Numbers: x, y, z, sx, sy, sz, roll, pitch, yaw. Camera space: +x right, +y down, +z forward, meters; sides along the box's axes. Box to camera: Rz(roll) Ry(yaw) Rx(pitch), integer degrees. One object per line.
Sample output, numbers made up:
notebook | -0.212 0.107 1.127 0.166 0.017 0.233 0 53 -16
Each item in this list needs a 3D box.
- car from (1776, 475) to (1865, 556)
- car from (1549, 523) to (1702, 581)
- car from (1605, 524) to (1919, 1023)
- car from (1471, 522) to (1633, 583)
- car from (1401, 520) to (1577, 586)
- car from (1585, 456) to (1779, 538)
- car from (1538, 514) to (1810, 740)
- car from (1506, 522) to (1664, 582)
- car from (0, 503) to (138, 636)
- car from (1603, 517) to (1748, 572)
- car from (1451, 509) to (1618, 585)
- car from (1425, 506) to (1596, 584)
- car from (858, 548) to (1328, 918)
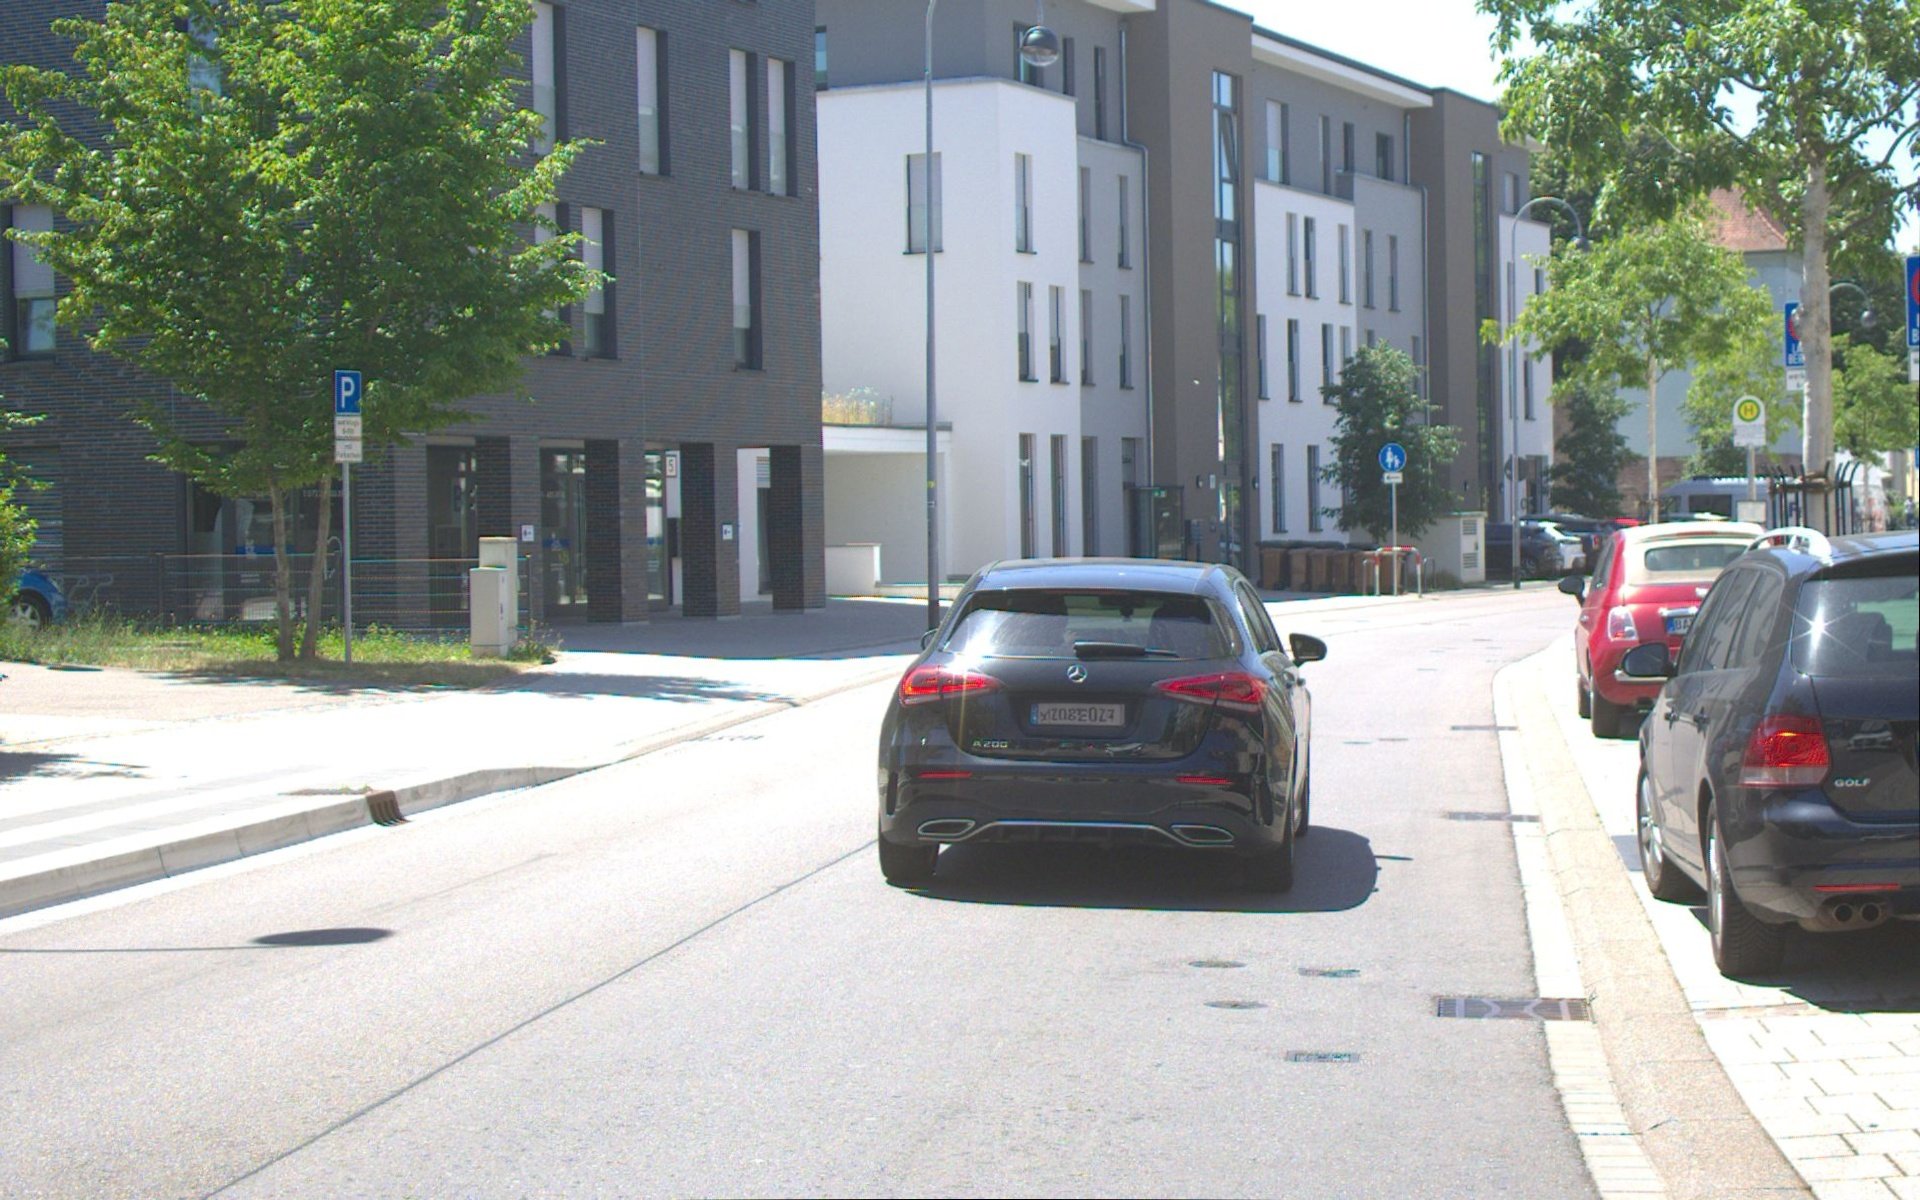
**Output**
car | 21.876 -2.146 87.334 1.995 2.007 3.997 0 1 17
car | 19.476 -1.412 100.613 3.993 1.656 1.997 1 1 27
car | 3.429 0.478 12.399 1.750 1.481 3.999 -3 1 6
car | 16.294 -1.310 94.666 3.993 1.656 1.997 1 1 27
car | 13.503 -1.215 87.758 3.993 1.656 1.997 1 1 27
car | 23.261 -3.291 110.818 5.651 2.570 2.511 1 1 28
car | 5.255 0.158 25.660 1.606 1.525 3.491 -2 1 6
car | 17.658 -1.359 97.186 3.993 1.656 1.997 1 1 27
car | -12.088 -0.371 40.830 1.998 1.563 4.159 1 1 39
car | 22.004 -1.710 105.718 3.993 1.656 1.997 1 1 27
car | 15.421 -1.429 92.241 3.993 2.007 1.997 1 1 28
car | 14.423 -1.446 90.079 3.993 2.007 1.997 1 1 28
car | 0.770 0.507 16.270 1.763 1.452 4.437 1 1 8
